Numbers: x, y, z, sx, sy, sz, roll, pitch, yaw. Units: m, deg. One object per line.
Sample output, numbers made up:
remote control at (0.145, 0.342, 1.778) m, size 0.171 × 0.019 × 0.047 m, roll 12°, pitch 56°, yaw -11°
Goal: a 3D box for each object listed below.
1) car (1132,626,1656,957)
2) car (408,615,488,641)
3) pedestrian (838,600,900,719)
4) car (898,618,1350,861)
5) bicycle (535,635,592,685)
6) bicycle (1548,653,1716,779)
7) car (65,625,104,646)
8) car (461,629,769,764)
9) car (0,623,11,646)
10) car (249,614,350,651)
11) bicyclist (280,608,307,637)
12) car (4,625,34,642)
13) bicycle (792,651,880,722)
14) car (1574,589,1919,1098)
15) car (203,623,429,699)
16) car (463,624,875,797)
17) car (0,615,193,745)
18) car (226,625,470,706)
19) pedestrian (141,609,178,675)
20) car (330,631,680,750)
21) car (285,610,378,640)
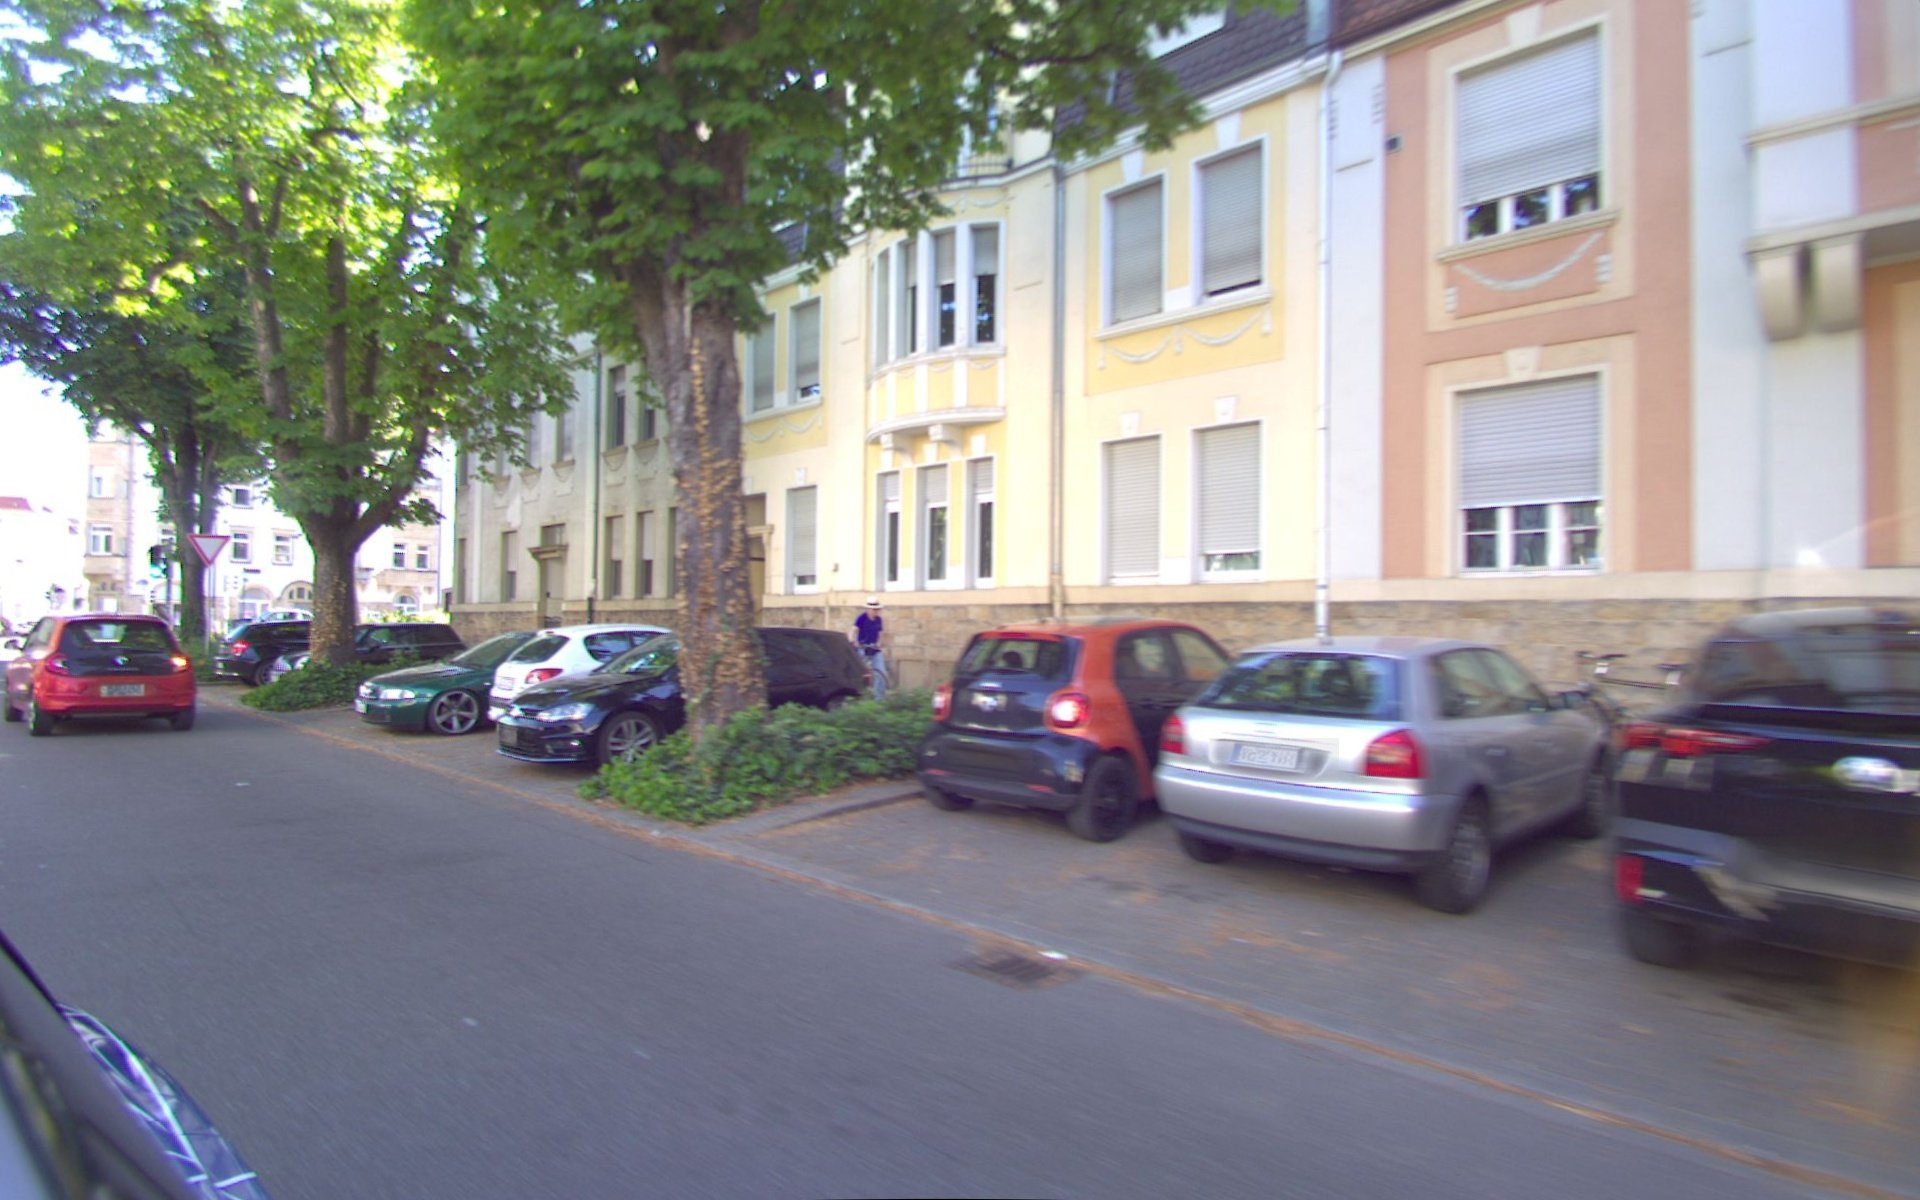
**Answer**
car at (3.029, 0.915, 6.616) m, size 1.831 × 1.414 × 3.941 m, roll -1°, pitch -1°, yaw 45°
car at (-30.986, 1.722, 61.298) m, size 1.766 × 1.541 × 3.963 m, roll -2°, pitch -3°, yaw 43°
pedestrian at (-1.326, 0.846, 14.680) m, size 0.454 × 1.671 × 0.896 m, roll 2°, pitch -2°, yaw -38°
car at (1.542, 0.975, 8.397) m, size 1.723 × 1.519 × 3.941 m, roll -1°, pitch -3°, yaw 45°
bicycle at (-9.859, 1.475, 25.137) m, size 1.983 × 1.163 × 0.508 m, roll -2°, pitch -1°, yaw 44°
bicycle at (6.292, 1.053, 9.507) m, size 1.255 × 1.073 × 0.427 m, roll -1°, pitch -2°, yaw 44°
car at (-74.423, 2.978, 86.080) m, size 1.887 × 1.671 × 4.358 m, roll -2°, pitch 0°, yaw -34°
car at (-4.399, 1.132, 13.175) m, size 3.393 × 1.463 × 1.704 m, roll 1°, pitch -1°, yaw -44°
car at (-89.336, 3.253, 93.506) m, size 1.804 × 2.050 × 3.829 m, roll -1°, pitch -2°, yaw -35°
car at (-28.830, 1.430, 44.178) m, size 3.557 × 1.580 × 1.656 m, roll 2°, pitch -3°, yaw -37°
bicyclist at (-36.177, 1.229, 54.909) m, size 0.687 × 1.554 × 1.059 m, roll -1°, pitch -3°, yaw 43°
car at (-96.514, 3.467, 103.857) m, size 1.804 × 1.608 × 3.828 m, roll -1°, pitch -2°, yaw -36°
bicycle at (-1.802, 1.210, 14.500) m, size 0.466 × 0.918 × 1.599 m, roll 2°, pitch -2°, yaw -39°
car at (4.360, 0.771, 4.550) m, size 1.864 × 1.578 × 3.941 m, roll -1°, pitch -1°, yaw 45°
car at (-13.943, 1.299, 22.048) m, size 1.615 × 1.487 × 3.839 m, roll -1°, pitch -3°, yaw 43°
car at (-2.998, 1.023, 10.985) m, size 1.786 × 1.493 × 3.941 m, roll -1°, pitch -1°, yaw 45°
car at (-11.776, 0.992, 13.664) m, size 3.703 × 1.520 × 1.623 m, roll -1°, pitch -3°, yaw 43°
car at (-12.091, 1.244, 20.209) m, size 1.613 × 1.426 × 3.845 m, roll -1°, pitch -2°, yaw 37°
pedestrian at (-20.780, 1.086, 26.283) m, size 0.684 × 1.695 × 0.682 m, roll 2°, pitch -2°, yaw -36°
car at (-6.255, 1.147, 14.272) m, size 1.703 × 1.359 × 4.165 m, roll 0°, pitch -1°, yaw 43°
car at (-36.626, 1.516, 59.045) m, size 2.000 × 1.657 × 4.180 m, roll -3°, pitch -4°, yaw 43°
